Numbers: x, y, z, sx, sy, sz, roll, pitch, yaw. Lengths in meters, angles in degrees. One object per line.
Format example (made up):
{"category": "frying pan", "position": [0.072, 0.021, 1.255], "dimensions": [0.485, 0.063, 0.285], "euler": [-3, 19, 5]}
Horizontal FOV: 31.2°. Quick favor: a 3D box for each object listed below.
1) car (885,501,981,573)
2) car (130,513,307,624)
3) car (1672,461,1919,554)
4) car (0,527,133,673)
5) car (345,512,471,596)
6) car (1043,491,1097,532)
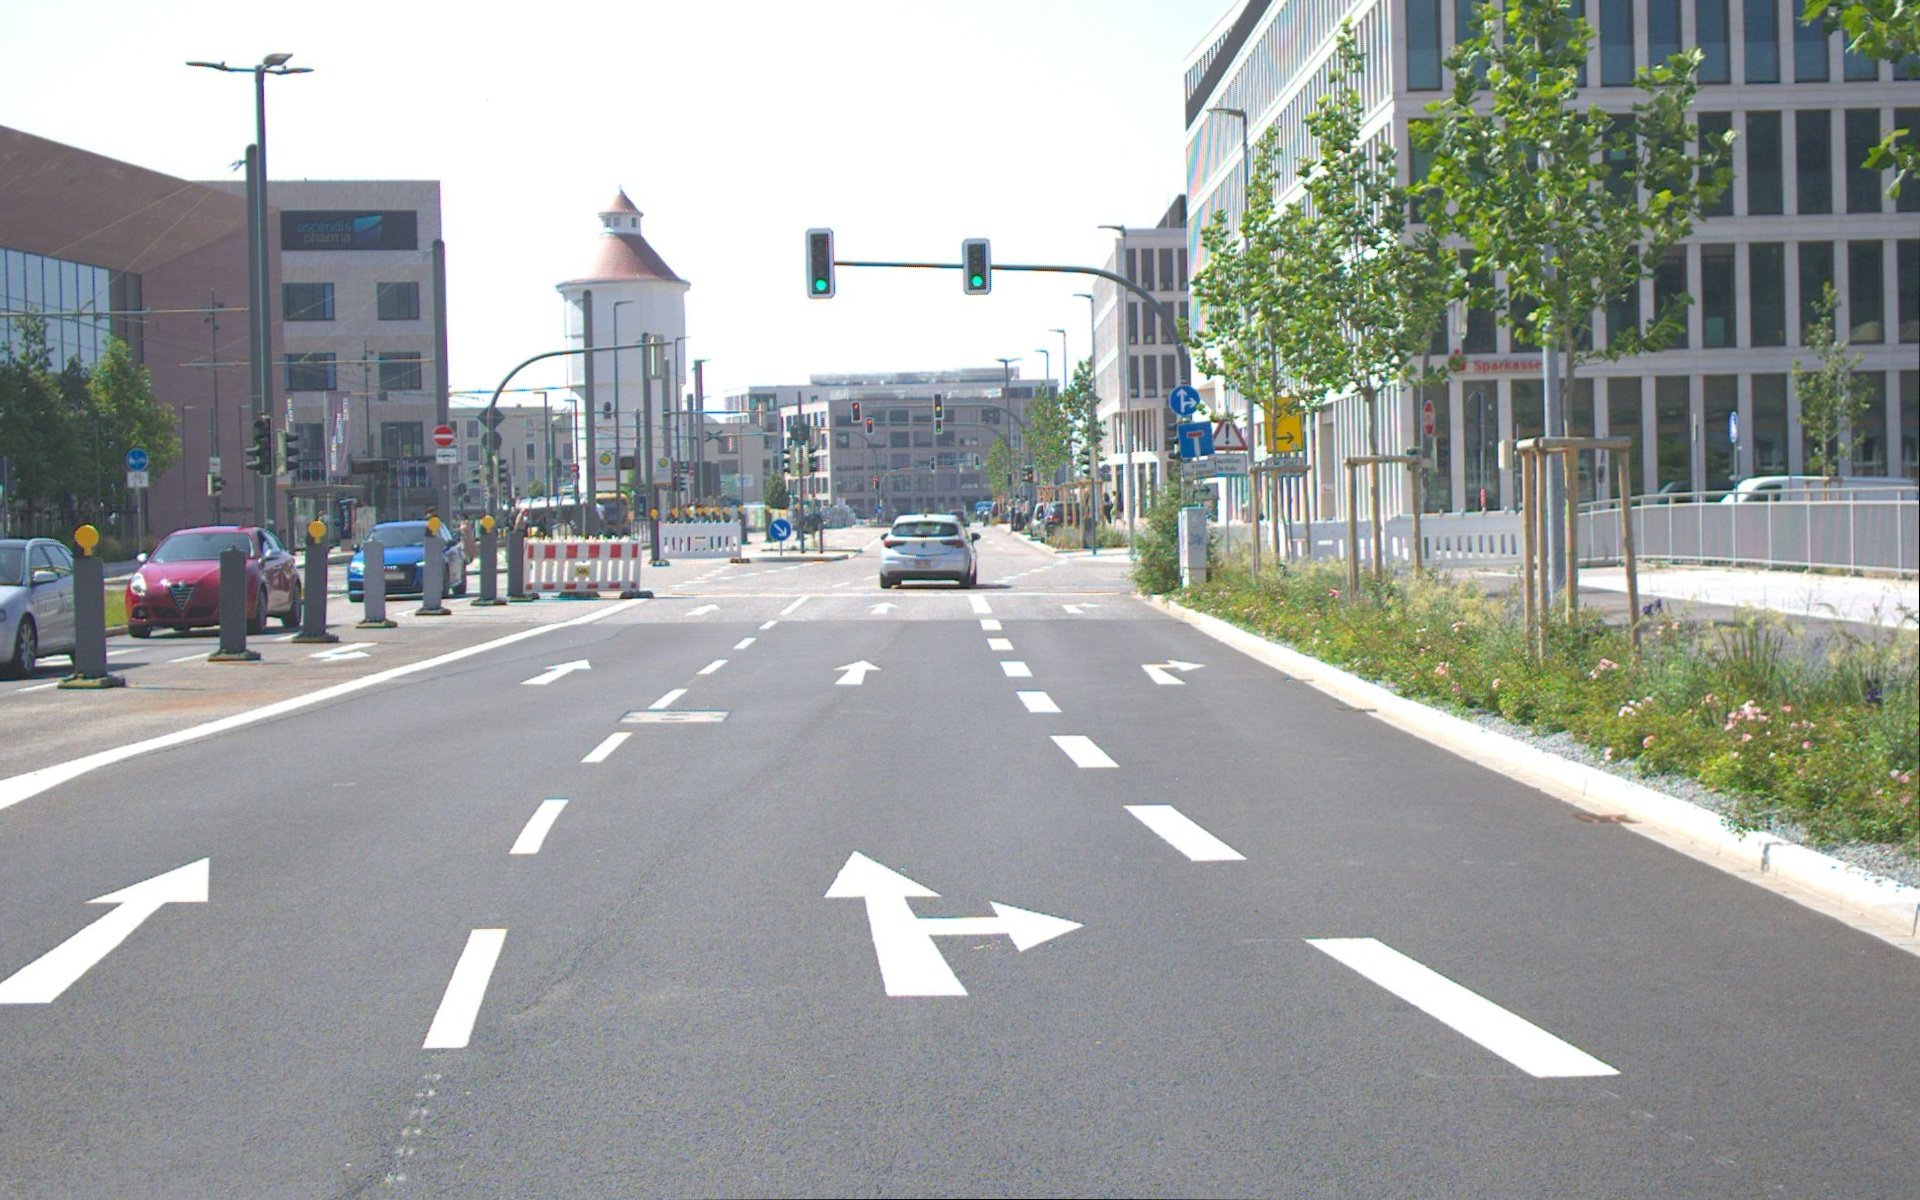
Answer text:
{"category": "car", "position": [-0.508, -1.236, 68.304], "dimensions": [1.771, 1.390, 3.532], "euler": [0, 1, 2]}
{"category": "car", "position": [-10.185, -0.463, 47.439], "dimensions": [1.580, 1.411, 4.000], "euler": [-2, 1, -1]}
{"category": "car", "position": [21.541, -2.400, 88.744], "dimensions": [5.836, 2.262, 2.147], "euler": [1, 2, 0]}
{"category": "car", "position": [-10.053, -0.019, 35.671], "dimensions": [1.580, 1.411, 4.296], "euler": [-2, 1, 4]}
{"category": "car", "position": [-10.104, -0.873, 63.178], "dimensions": [1.628, 1.422, 4.291], "euler": [-2, 2, -1]}
{"category": "car", "position": [4.066, -3.246, 126.785], "dimensions": [1.737, 1.469, 3.980], "euler": [0, 1, 5]}
